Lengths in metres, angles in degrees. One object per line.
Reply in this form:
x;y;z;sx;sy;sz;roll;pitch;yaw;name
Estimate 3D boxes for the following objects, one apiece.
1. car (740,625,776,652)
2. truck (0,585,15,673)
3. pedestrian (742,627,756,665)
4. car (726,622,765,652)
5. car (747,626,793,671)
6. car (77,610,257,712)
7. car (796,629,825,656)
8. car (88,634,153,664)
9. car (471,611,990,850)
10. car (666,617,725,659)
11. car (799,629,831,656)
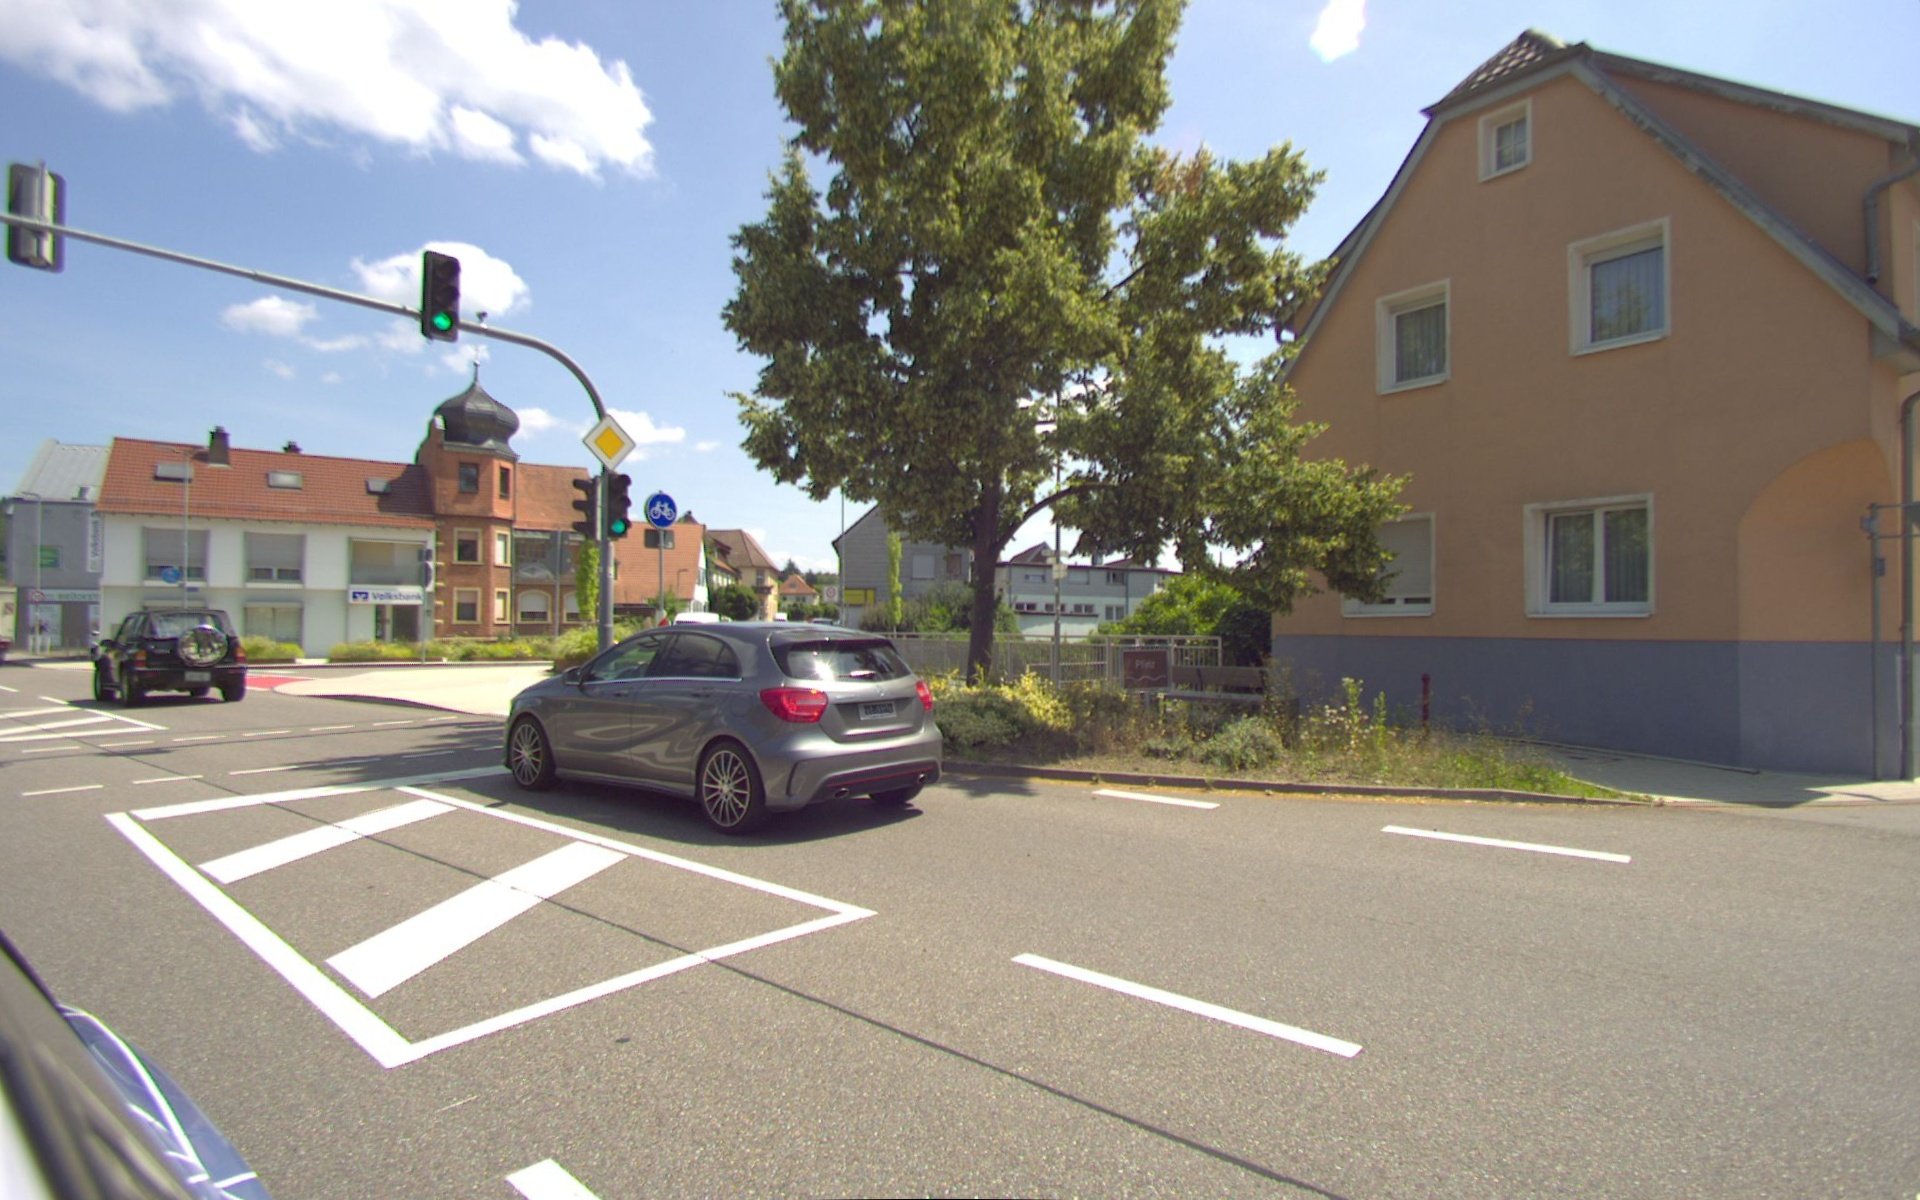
-18.061;3.433;90.597;2.143;2.363;5.111;1;-2;0;car
-38.264;1.053;38.521;6.035;3.260;2.477;-1;-3;40;truck
-9.854;2.135;47.319;0.500;1.762;0.614;0;-2;3;pedestrian
-17.906;3.089;84.760;2.143;2.363;5.111;1;-2;0;car
-8.843;2.247;47.382;1.968;2.029;4.007;0;-2;-9;car
-14.353;1.046;18.271;3.663;1.664;1.722;-2;-2;38;car
-11.054;3.114;74.990;1.894;1.892;4.005;1;-2;-6;car
-46.478;2.710;56.122;1.965;1.587;4.266;2;-3;-29;car
-2.001;0.850;8.213;4.211;1.453;1.845;-1;-3;38;car
-15.863;2.274;60.994;2.143;2.363;5.111;1;-2;0;car
-9.996;2.932;69.739;2.036;1.741;4.008;2;-2;-10;car
